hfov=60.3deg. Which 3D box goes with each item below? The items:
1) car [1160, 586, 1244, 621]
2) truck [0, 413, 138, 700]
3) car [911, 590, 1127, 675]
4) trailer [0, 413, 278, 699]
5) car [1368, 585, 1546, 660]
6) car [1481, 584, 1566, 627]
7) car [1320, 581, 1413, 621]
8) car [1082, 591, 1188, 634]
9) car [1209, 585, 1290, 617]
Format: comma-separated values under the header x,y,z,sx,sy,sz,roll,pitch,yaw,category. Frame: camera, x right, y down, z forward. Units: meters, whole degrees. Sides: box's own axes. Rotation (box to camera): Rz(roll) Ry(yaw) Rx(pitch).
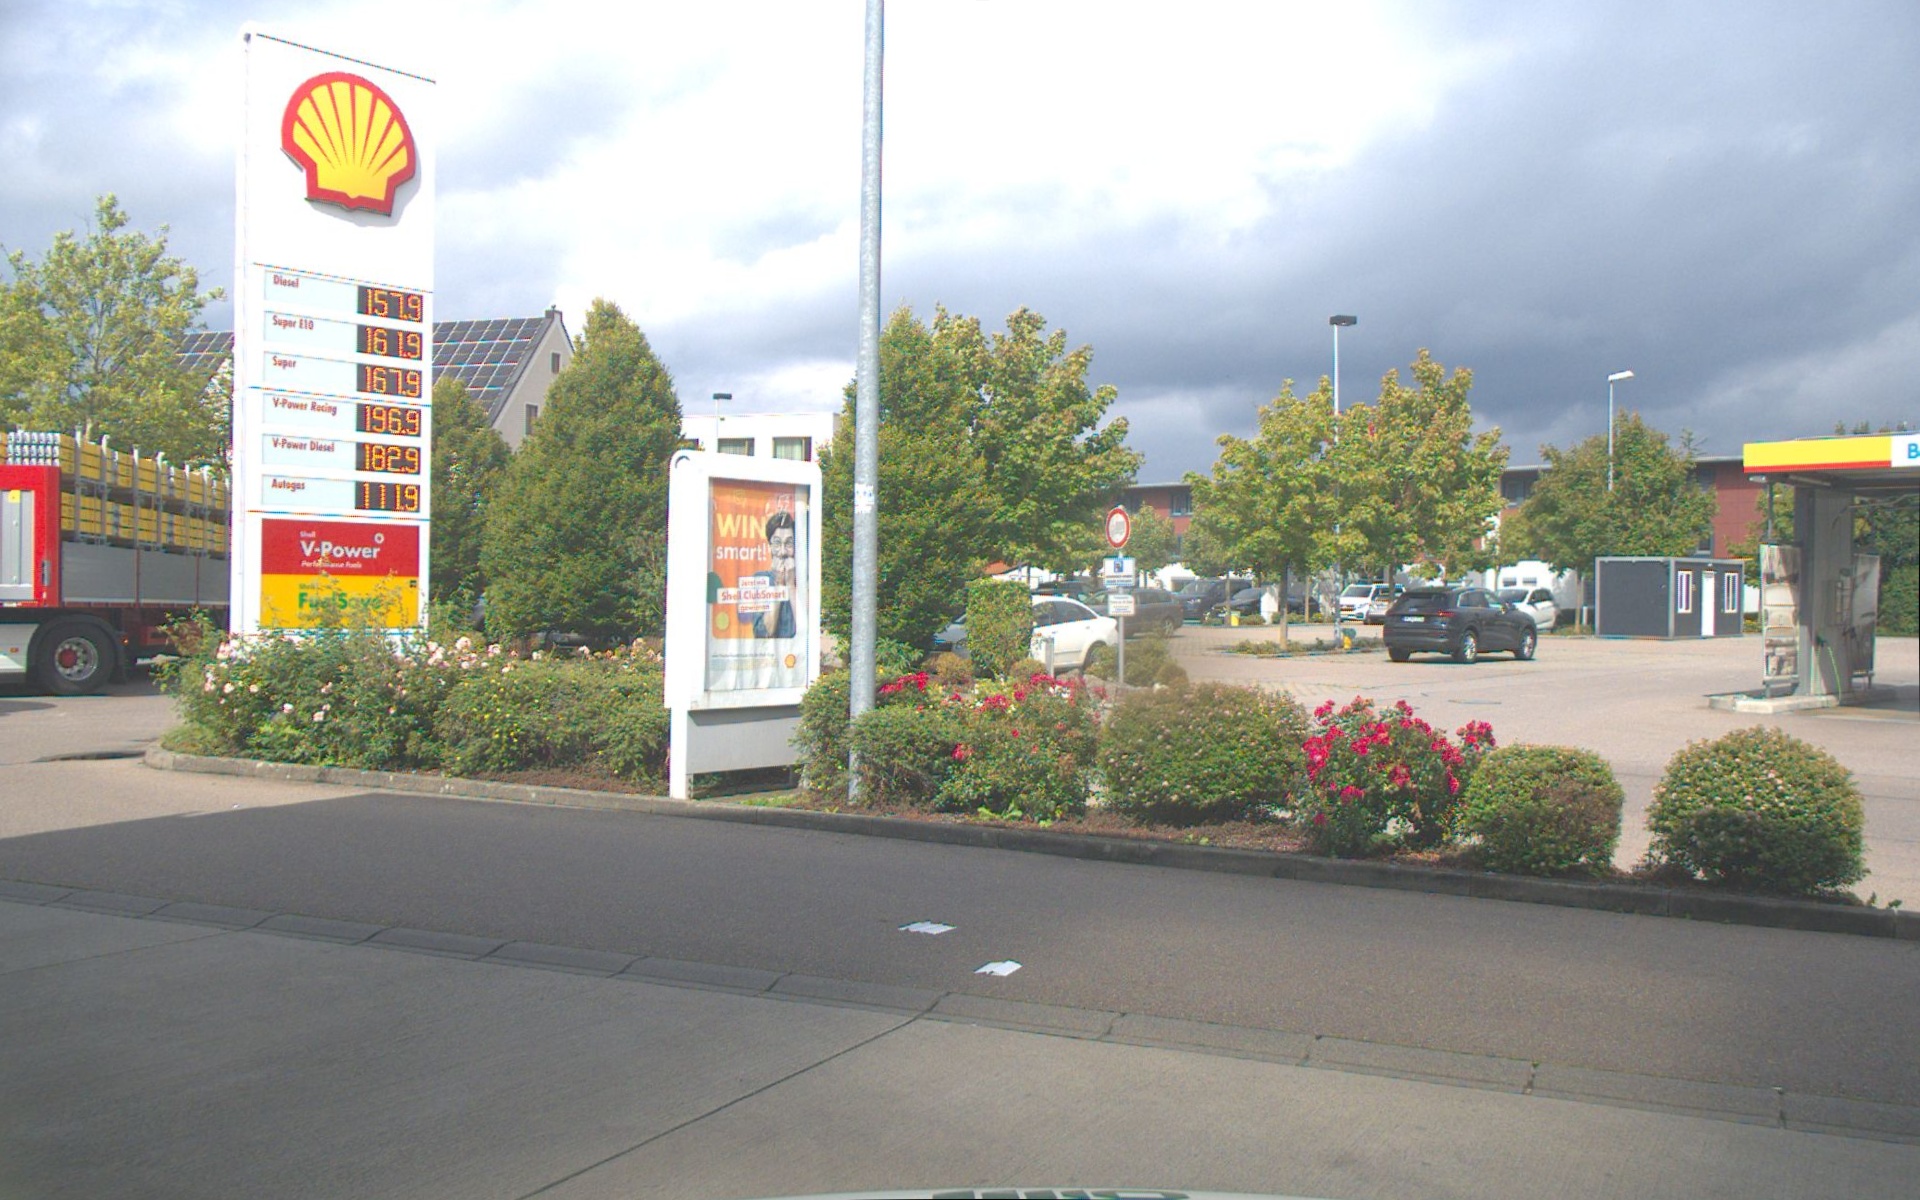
x,y,z,sx,sy,sz,roll,pitch,yaw,category
9.814,0.154,66.924,3.364,1.343,1.719,1,0,-45,car
-14.855,-0.624,22.609,2.693,3.913,5.883,1,-1,42,truck
1.134,0.581,29.928,1.348,1.428,4.312,1,-1,45,car
-14.565,-0.592,28.364,2.681,3.842,12.680,1,0,-11,trailer
11.132,0.494,36.885,4.467,1.575,1.856,1,0,-44,car
18.009,0.181,52.797,3.080,1.330,1.346,1,-1,-45,car
19.918,0.049,80.937,4.839,1.865,2.150,1,0,-44,car
5.280,0.374,49.784,3.203,1.249,1.481,1,0,-45,car
11.415,0.051,65.201,3.393,1.199,1.462,1,0,-45,car
